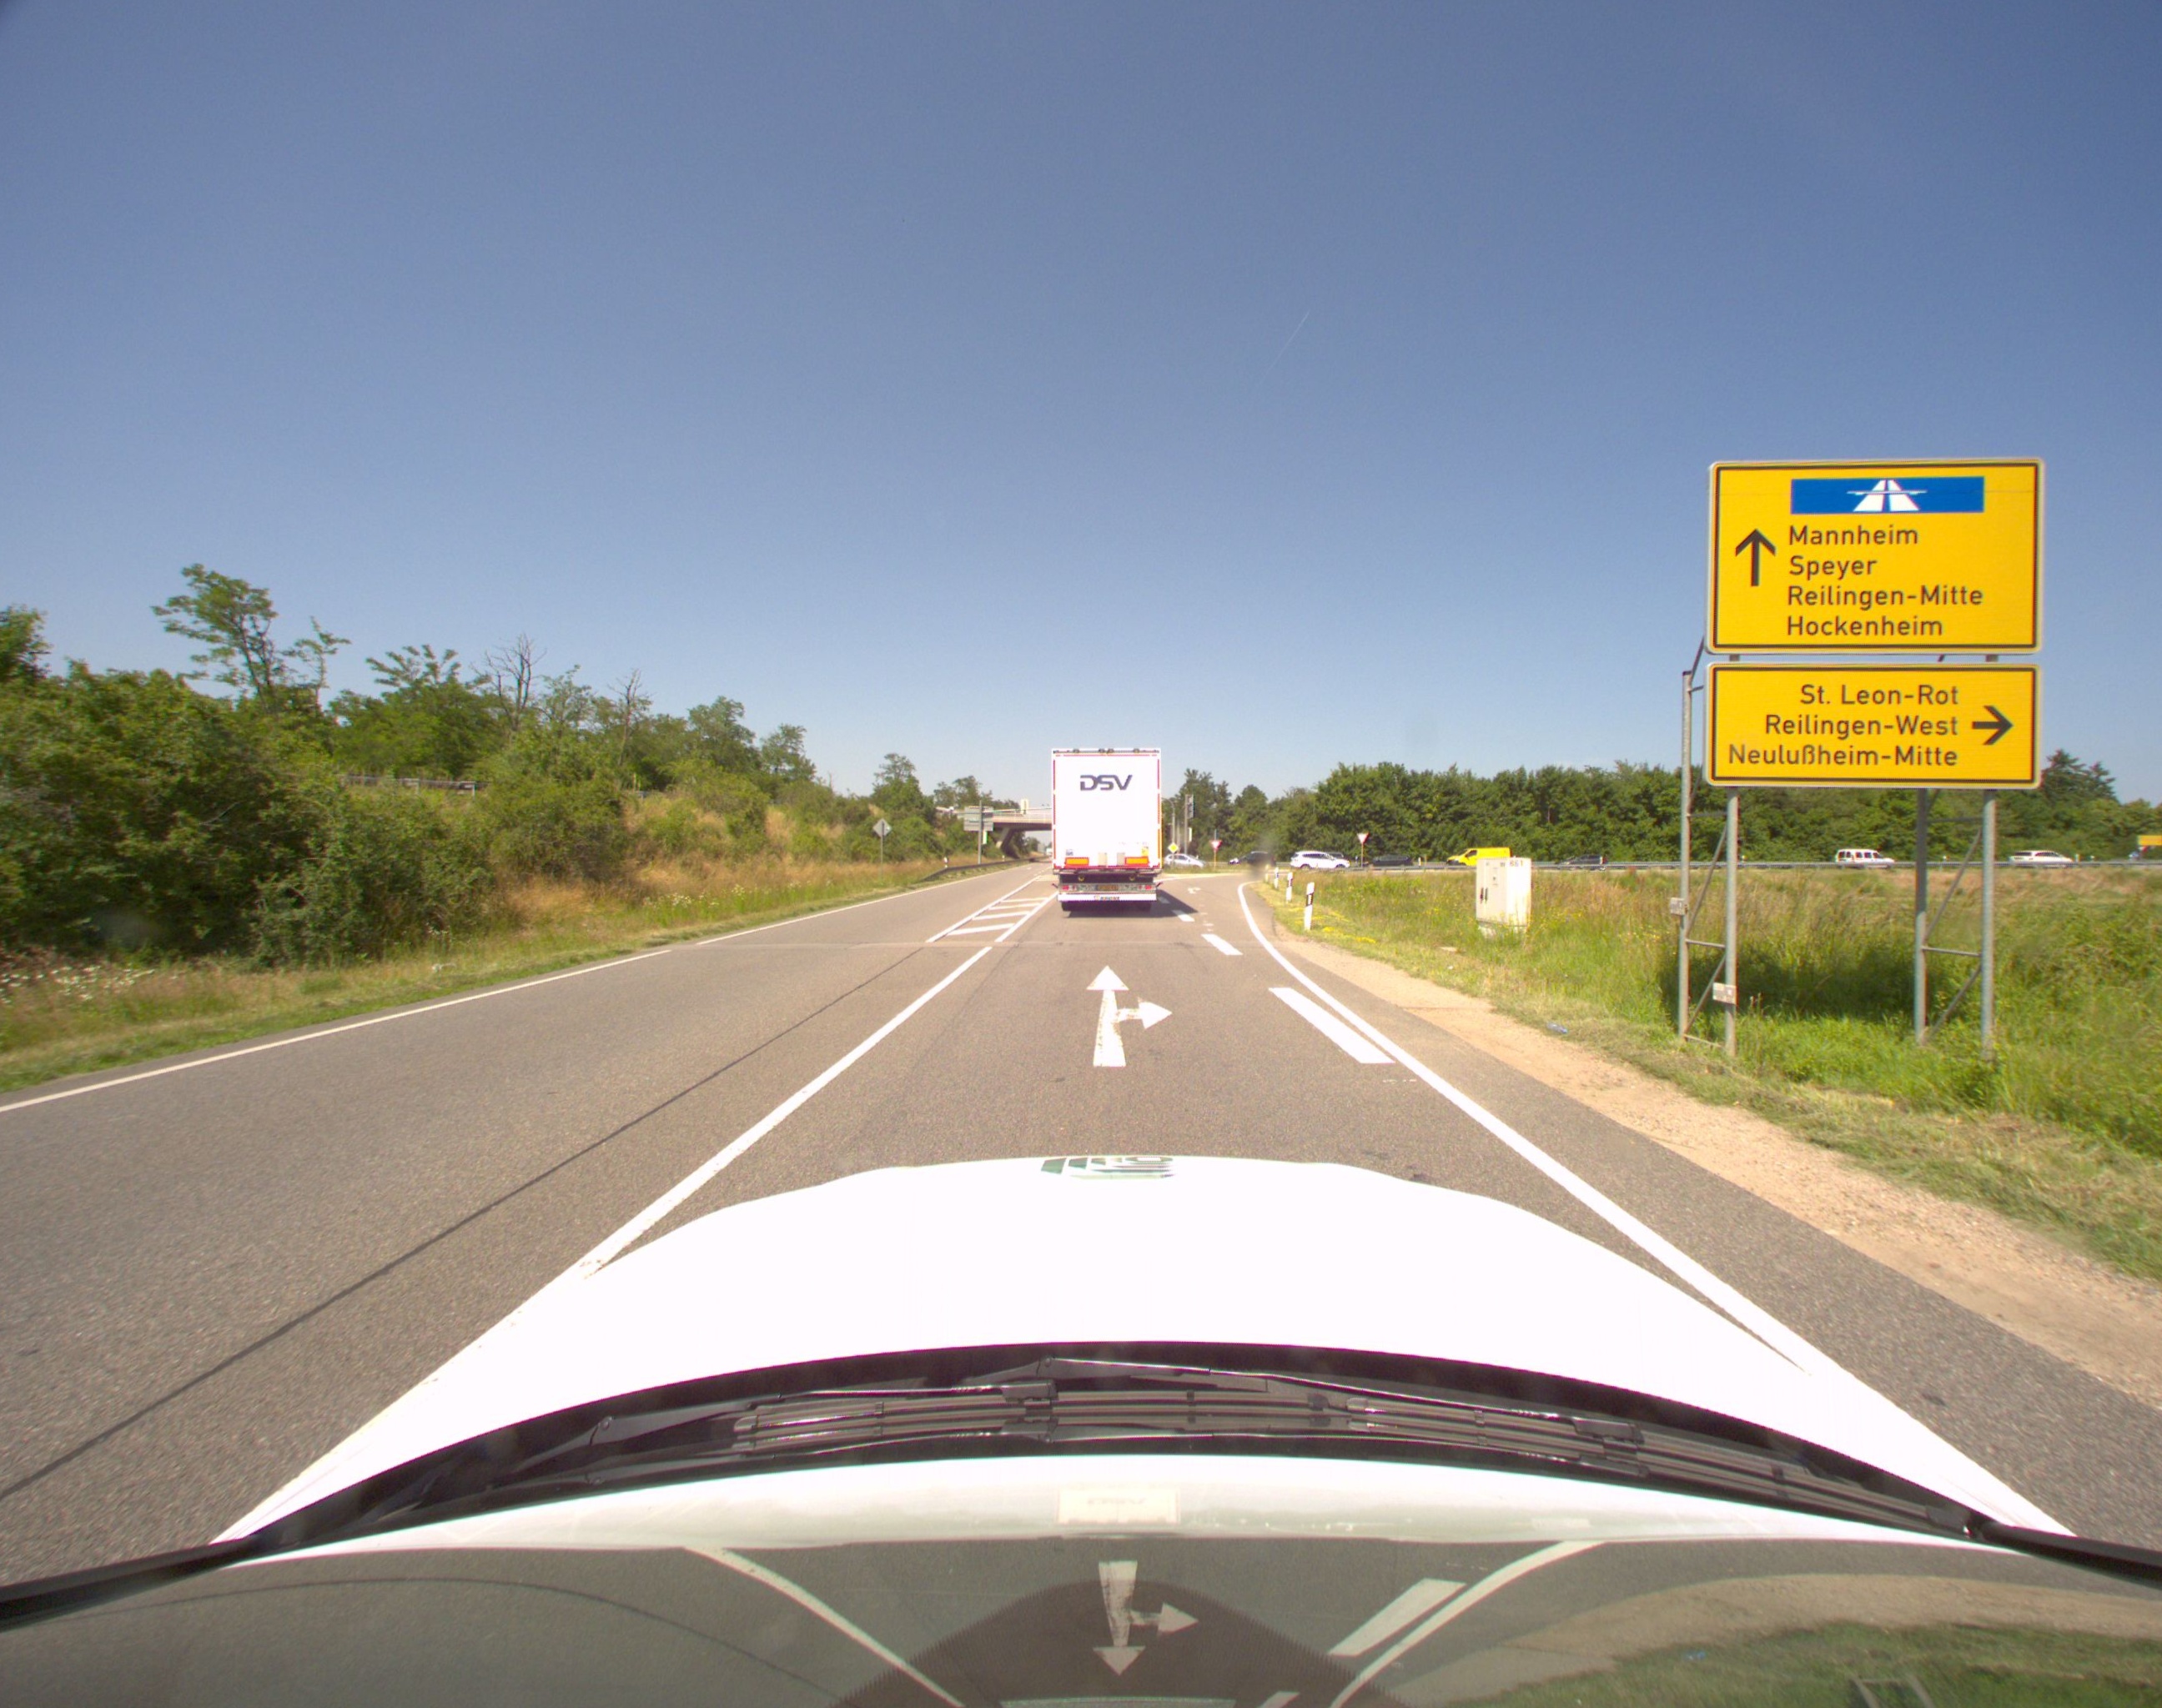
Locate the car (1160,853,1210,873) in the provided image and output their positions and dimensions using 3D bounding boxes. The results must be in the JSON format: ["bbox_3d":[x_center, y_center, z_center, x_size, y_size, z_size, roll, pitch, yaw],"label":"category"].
[{"bbox_3d":[8.244,0.692,64.505,3.653,1.567,1.747,0,-1,16],"label":"car"}]

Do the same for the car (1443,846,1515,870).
[{"bbox_3d":[34.636,0.367,71.009,5.300,2.014,2.002,0,-1,3],"label":"car"}]

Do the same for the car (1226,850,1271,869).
[{"bbox_3d":[15.186,0.513,74.027,3.964,1.640,1.845,0,-1,7],"label":"car"}]

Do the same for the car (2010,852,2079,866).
[{"bbox_3d":[81.028,0.434,68.529,3.977,1.189,1.716,0,-1,-3],"label":"car"}]

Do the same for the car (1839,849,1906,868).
[{"bbox_3d":[66.052,0.412,68.004,3.976,1.569,1.716,0,-1,-2],"label":"car"}]

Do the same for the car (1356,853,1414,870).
[{"bbox_3d":[27.198,0.681,73.028,4.655,1.514,1.858,0,-1,9],"label":"car"}]

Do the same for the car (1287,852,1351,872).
[{"bbox_3d":[18.291,0.614,62.621,4.449,1.567,1.741,0,-1,3],"label":"car"}]

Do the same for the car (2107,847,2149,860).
[{"bbox_3d":[125.609,-0.017,97.747,1.829,1.514,4.727,-1,-1,35],"label":"car"}]

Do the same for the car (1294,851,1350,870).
[{"bbox_3d":[21.228,0.560,71.810,4.465,1.598,1.770,0,-1,4],"label":"car"}]

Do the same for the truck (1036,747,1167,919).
[{"bbox_3d":[0.612,-0.456,23.570,2.977,3.942,9.878,0,0,2],"label":"truck"}]
